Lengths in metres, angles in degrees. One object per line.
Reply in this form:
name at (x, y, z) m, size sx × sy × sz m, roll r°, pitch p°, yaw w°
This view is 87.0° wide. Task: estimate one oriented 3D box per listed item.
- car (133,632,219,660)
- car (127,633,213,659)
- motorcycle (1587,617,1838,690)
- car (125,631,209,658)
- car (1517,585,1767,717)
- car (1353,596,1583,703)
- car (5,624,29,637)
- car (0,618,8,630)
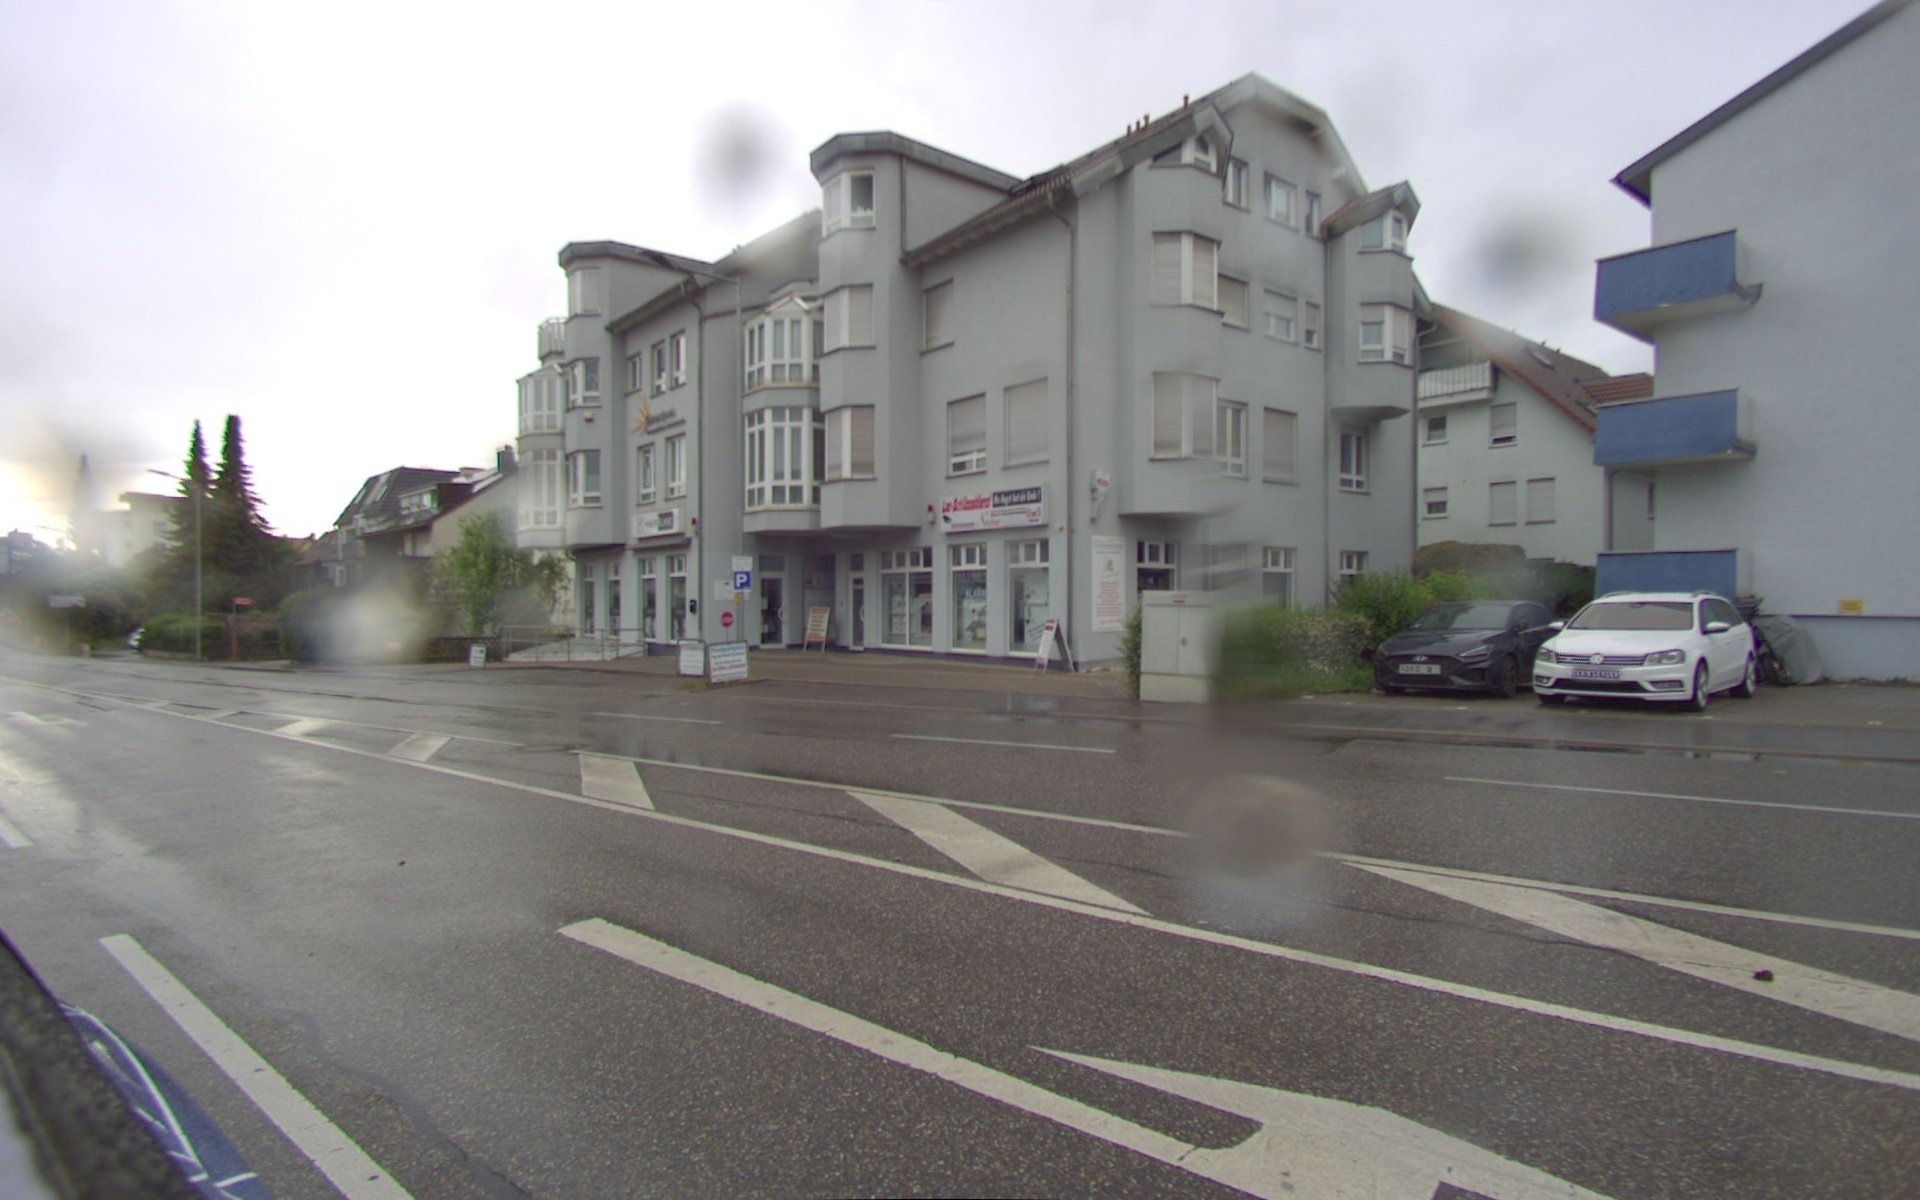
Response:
car at (-47.650, 2.774, 61.546) m, size 3.979 × 1.453 × 1.814 m, roll -1°, pitch -1°, yaw -44°
car at (-49.398, 2.855, 63.323) m, size 4.097 × 1.453 × 1.892 m, roll -1°, pitch -1°, yaw -42°
motorcycle at (12.119, 0.870, 16.471) m, size 3.112 × 1.108 × 0.869 m, roll -2°, pitch -1°, yaw 24°
car at (-51.210, 2.860, 65.387) m, size 4.058 × 1.557 × 2.001 m, roll -1°, pitch -1°, yaw -44°
car at (9.220, 0.606, 13.540) m, size 4.170 × 1.485 × 1.906 m, roll 0°, pitch -2°, yaw -44°
car at (7.829, 0.685, 15.448) m, size 3.940 × 1.421 × 1.906 m, roll 0°, pitch -2°, yaw -44°
car at (-122.943, 3.953, 131.909) m, size 1.968 × 1.628 × 4.007 m, roll 1°, pitch -2°, yaw -39°
car at (-147.573, 3.726, 155.328) m, size 1.824 × 1.777 × 4.128 m, roll 1°, pitch -2°, yaw -39°
